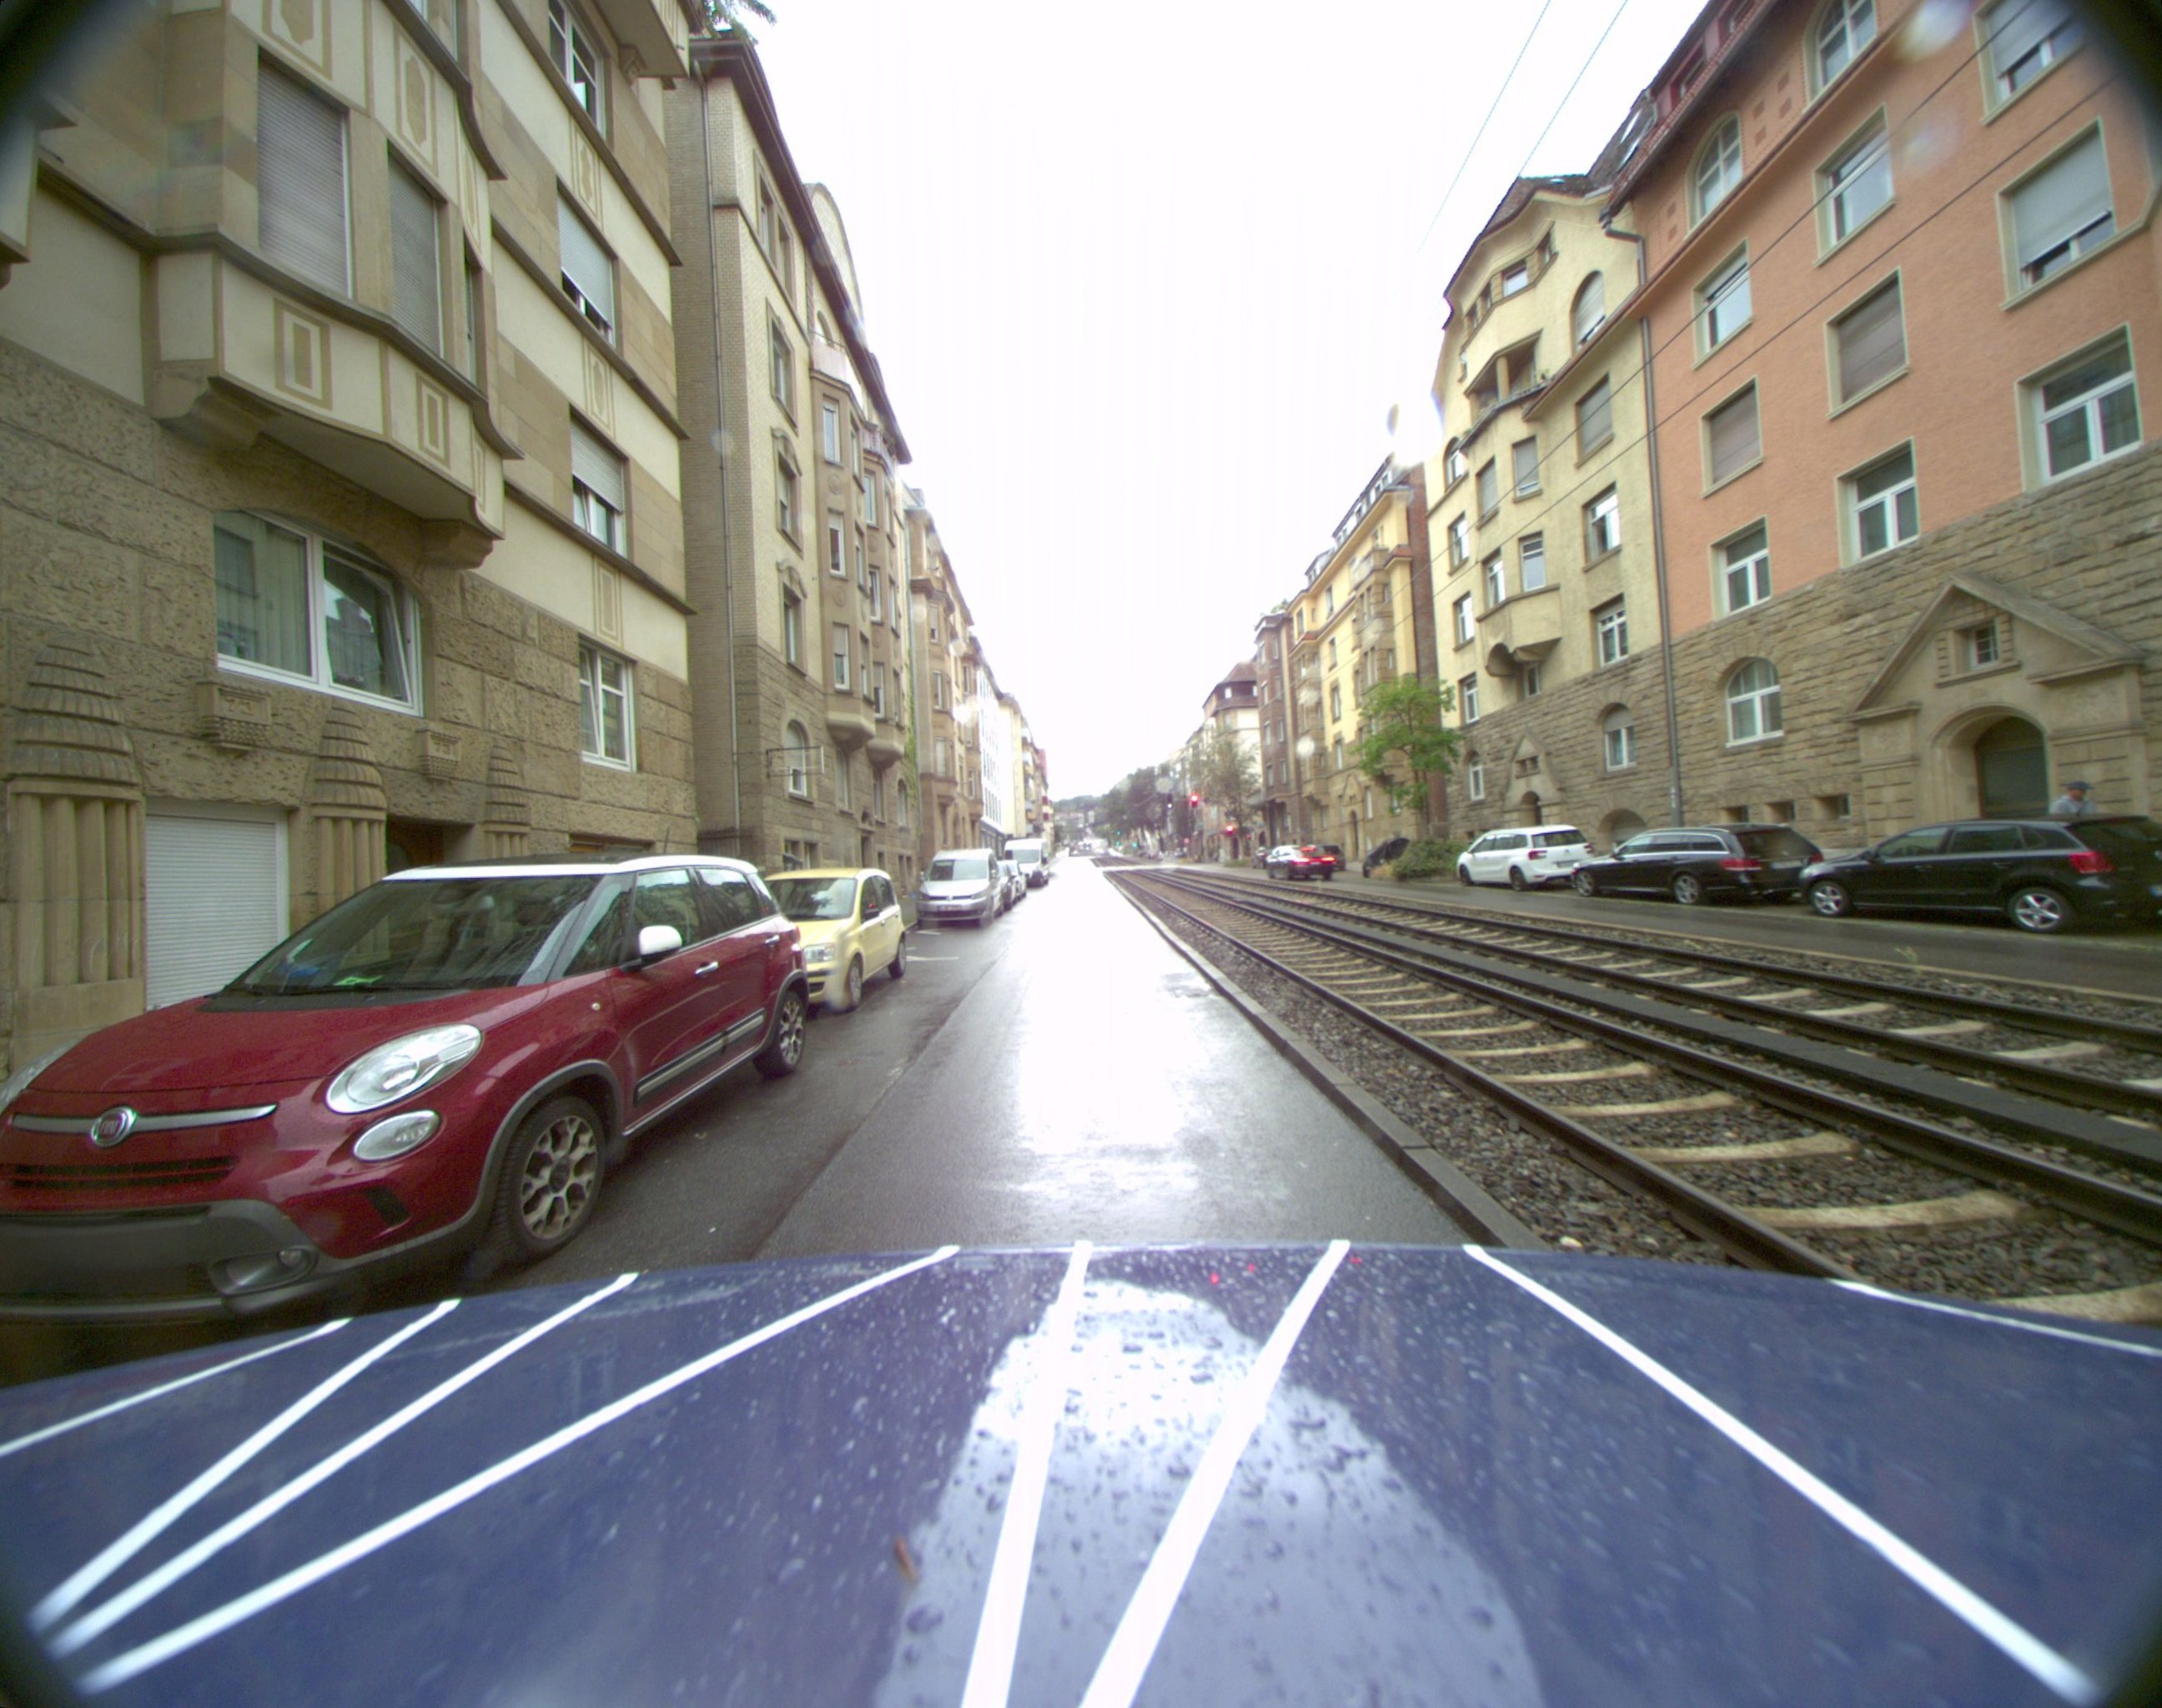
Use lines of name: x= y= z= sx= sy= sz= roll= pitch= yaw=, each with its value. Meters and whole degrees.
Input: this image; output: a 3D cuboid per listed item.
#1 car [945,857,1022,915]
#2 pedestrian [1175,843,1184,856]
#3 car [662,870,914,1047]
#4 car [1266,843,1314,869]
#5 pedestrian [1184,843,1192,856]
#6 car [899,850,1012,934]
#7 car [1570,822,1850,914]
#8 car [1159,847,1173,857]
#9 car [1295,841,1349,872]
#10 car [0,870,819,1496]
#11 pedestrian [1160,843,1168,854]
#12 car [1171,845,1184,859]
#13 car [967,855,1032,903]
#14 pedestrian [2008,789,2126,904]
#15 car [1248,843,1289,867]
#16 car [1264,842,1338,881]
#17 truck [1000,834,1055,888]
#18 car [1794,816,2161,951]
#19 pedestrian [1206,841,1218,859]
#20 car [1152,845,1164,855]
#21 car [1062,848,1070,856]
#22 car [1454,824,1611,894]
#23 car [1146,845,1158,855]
car: x=-2.954 y=0.928 z=23.810 sx=1.999 sy=1.521 sz=3.999 roll=-3 pitch=0 yaw=-3
pedestrian: x=14.759 y=-0.632 z=113.934 sx=1.056 sy=1.946 sz=1.163 roll=-3 pitch=1 yaw=2
car: x=-3.181 y=1.034 z=9.035 sx=1.580 sy=1.520 sz=3.578 roll=-3 pitch=0 yaw=-1
car: x=12.482 y=0.100 z=45.646 sx=1.771 sy=1.433 sz=4.031 roll=-3 pitch=0 yaw=2
pedestrian: x=16.058 y=-0.682 z=113.922 sx=1.056 sy=1.946 sz=1.163 roll=-3 pitch=1 yaw=2
car: x=-3.001 y=0.839 z=19.193 sx=1.968 sy=1.792 sz=4.459 roll=-3 pitch=0 yaw=1
car: x=12.300 y=0.235 z=15.377 sx=1.847 sy=1.486 sz=4.601 roll=-3 pitch=0 yaw=1
car: x=12.884 y=-0.318 z=115.358 sx=1.771 sy=1.507 sz=3.845 roll=-3 pitch=0 yaw=1
car: x=12.514 y=0.112 z=39.607 sx=1.678 sy=1.433 sz=3.845 roll=-4 pitch=1 yaw=3
car: x=-3.025 y=0.972 z=4.087 sx=1.807 sy=1.590 sz=3.999 roll=-3 pitch=0 yaw=-1
pedestrian: x=15.484 y=-1.070 z=141.726 sx=1.380 sy=1.946 sz=1.379 roll=-3 pitch=1 yaw=2
car: x=12.686 y=-0.272 z=99.538 sx=1.583 sy=1.669 sz=3.790 roll=-3 pitch=2 yaw=7
car: x=-2.943 y=0.869 z=28.310 sx=1.891 sy=1.521 sz=3.929 roll=-3 pitch=0 yaw=1
pedestrian: x=14.968 y=-0.113 z=11.558 sx=0.701 sy=1.633 sz=0.765 roll=-5 pitch=1 yaw=1
car: x=12.493 y=0.046 z=50.741 sx=1.771 sy=1.433 sz=3.845 roll=-3 pitch=0 yaw=1
car: x=9.592 y=0.303 z=33.520 sx=1.807 sy=1.514 sz=4.964 roll=-3 pitch=0 yaw=1
truck: x=-2.713 y=0.327 z=39.939 sx=2.235 sy=2.521 sz=6.143 roll=-3 pitch=0 yaw=1
car: x=12.537 y=0.304 z=10.459 sx=1.935 sy=1.488 sz=3.641 roll=-2 pitch=1 yaw=-2
pedestrian: x=15.053 y=-0.462 z=87.295 sx=1.056 sy=1.946 sz=1.163 roll=-3 pitch=1 yaw=2
car: x=12.854 y=-0.678 z=126.828 sx=1.657 sy=1.589 sz=3.775 roll=-3 pitch=0 yaw=1
car: x=-3.816 y=-0.473 z=194.517 sx=1.998 sy=1.838 sz=4.000 roll=-3 pitch=0 yaw=1
car: x=12.282 y=0.121 z=21.039 sx=1.867 sy=1.646 sz=4.146 roll=-3 pitch=0 yaw=1
car: x=12.451 y=-0.679 z=133.697 sx=1.632 sy=1.537 sz=3.801 roll=-3 pitch=0 yaw=1
